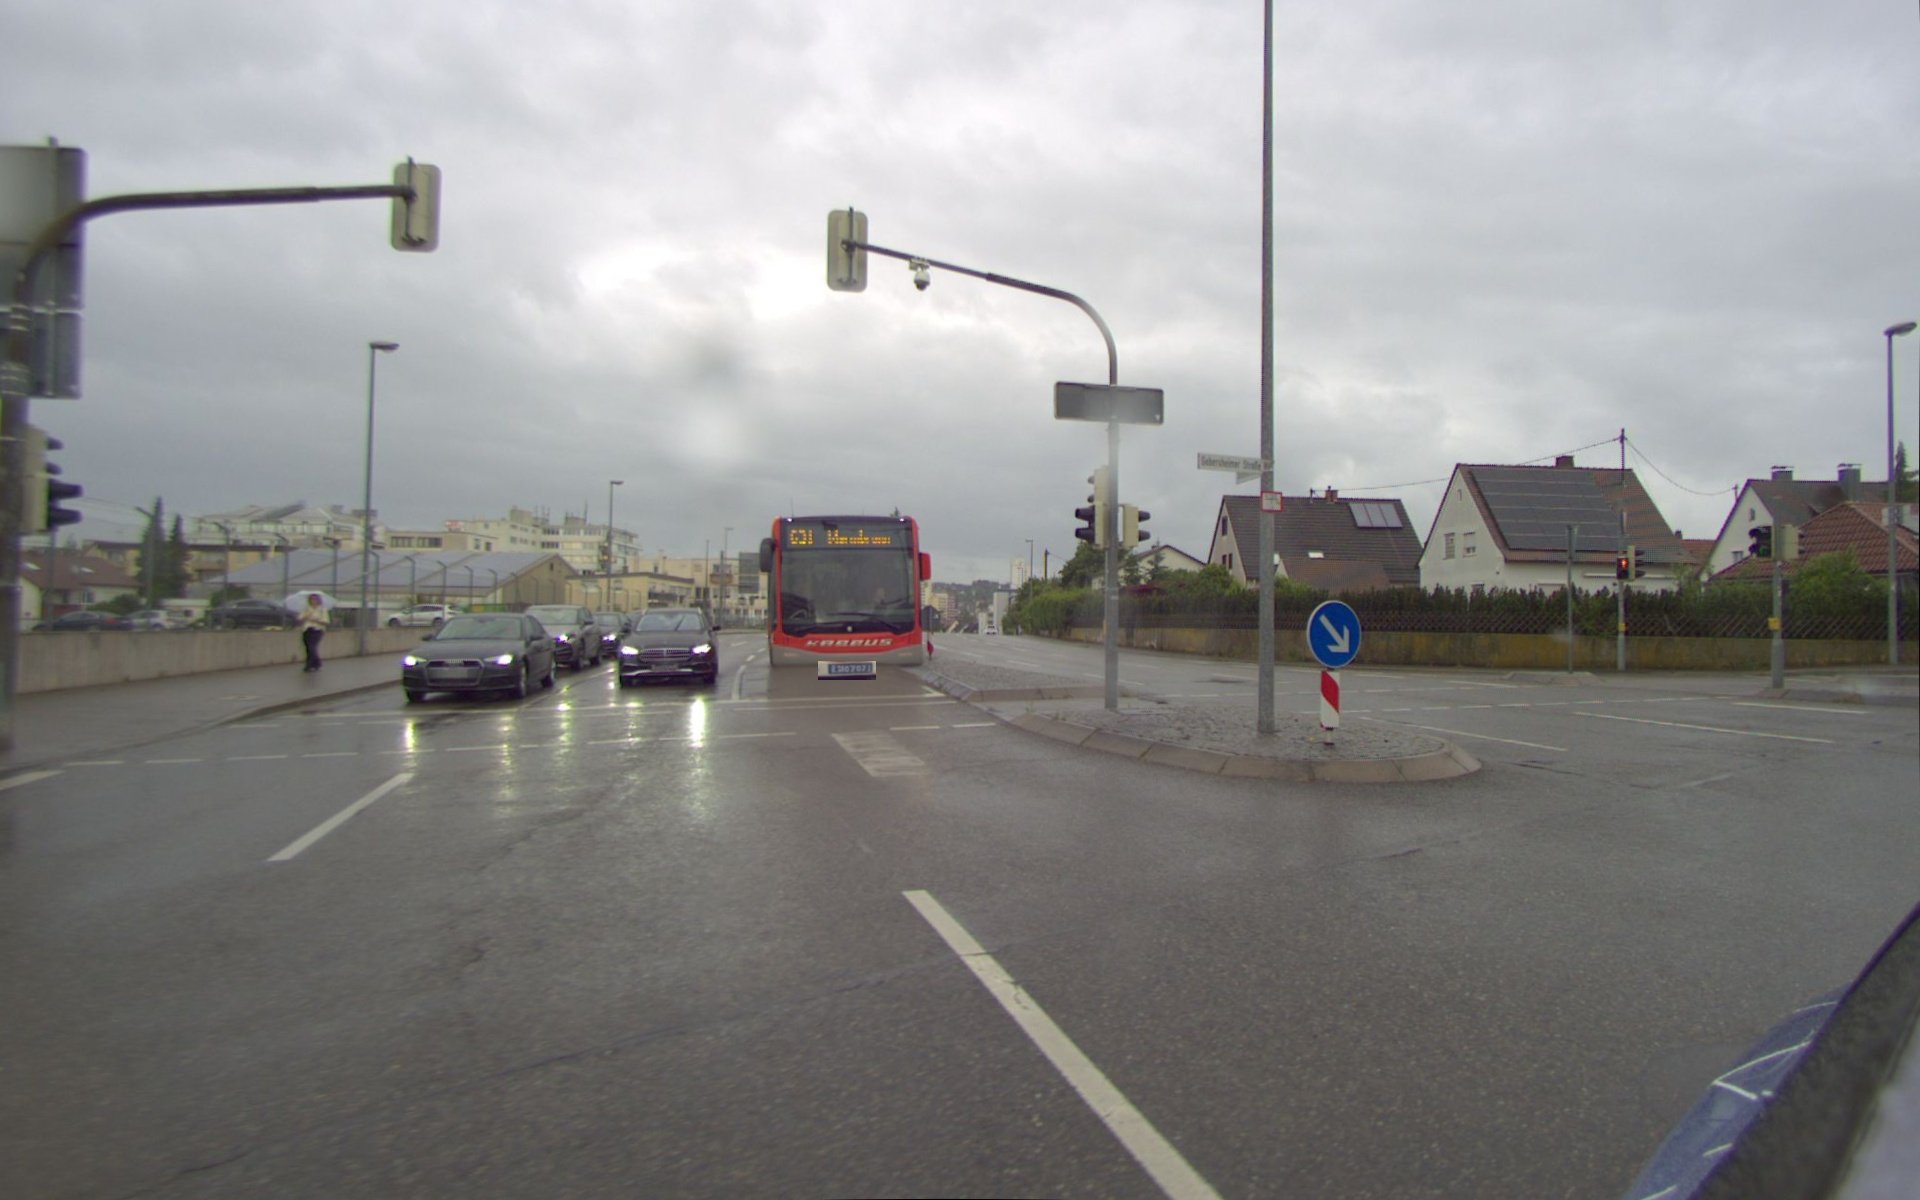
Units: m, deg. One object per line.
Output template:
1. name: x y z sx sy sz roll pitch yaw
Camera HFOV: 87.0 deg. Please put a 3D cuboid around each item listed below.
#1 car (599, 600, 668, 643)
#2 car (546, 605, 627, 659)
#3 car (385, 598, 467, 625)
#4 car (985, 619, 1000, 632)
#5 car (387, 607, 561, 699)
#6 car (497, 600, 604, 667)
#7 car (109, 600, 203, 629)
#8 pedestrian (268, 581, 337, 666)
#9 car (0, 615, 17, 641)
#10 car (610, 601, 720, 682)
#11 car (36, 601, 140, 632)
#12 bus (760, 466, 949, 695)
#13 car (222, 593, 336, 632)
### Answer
1. car: -12.679 0.803 39.505 1.833 1.527 3.986 0 1 -7
2. car: -11.751 0.952 32.098 1.788 1.557 4.401 0 0 -12
3. car: -31.930 0.675 60.550 3.929 1.563 1.997 0 0 5
4. car: 4.261 3.341 133.005 1.820 1.516 3.995 0 1 5
5. car: -8.310 0.824 17.726 1.788 1.372 4.401 0 0 -12
6. car: -10.274 0.771 25.697 1.788 1.557 4.401 0 0 -12
7. car: -47.224 0.849 59.490 3.923 1.638 2.000 0 0 -1
8. pedestrian: -13.345 0.470 20.575 0.851 1.630 0.875 4 -1 -15
9. car: -62.268 1.768 63.710 3.920 1.560 1.849 0 0 -5
10. car: -5.968 0.760 20.938 1.863 1.486 4.600 0 0 -12
11. car: -47.198 0.903 54.820 3.923 1.638 2.000 0 0 -1
12. bus: -2.862 -0.168 22.271 2.924 3.623 12.310 0 -1 -12
13. car: -30.714 0.558 45.720 3.823 1.686 1.932 0 0 0
